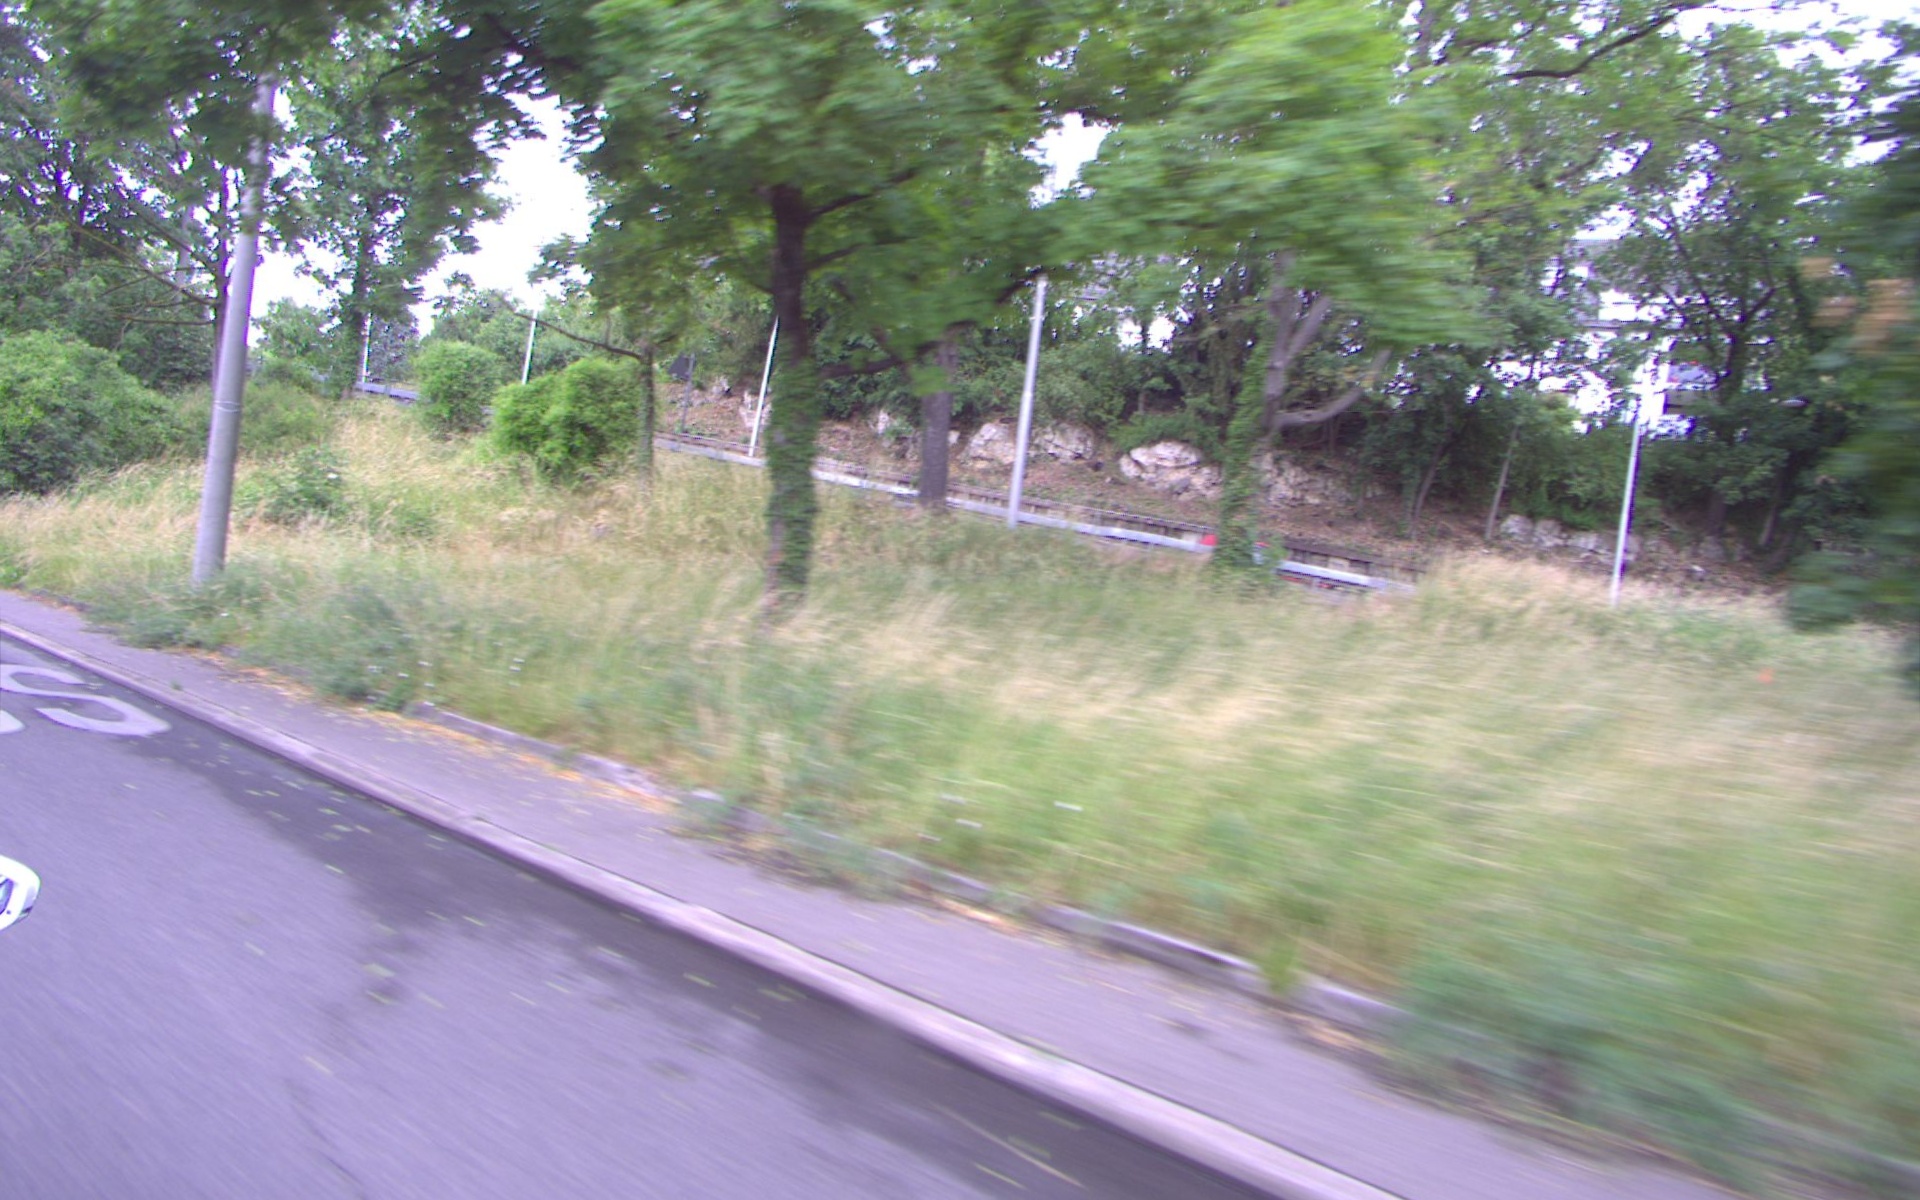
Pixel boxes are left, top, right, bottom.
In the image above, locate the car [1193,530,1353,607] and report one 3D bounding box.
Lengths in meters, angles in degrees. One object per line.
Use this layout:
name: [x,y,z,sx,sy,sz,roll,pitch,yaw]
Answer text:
car: [8.468,-0.855,27.558,3.924,1.528,1.802,7,-1,14]
